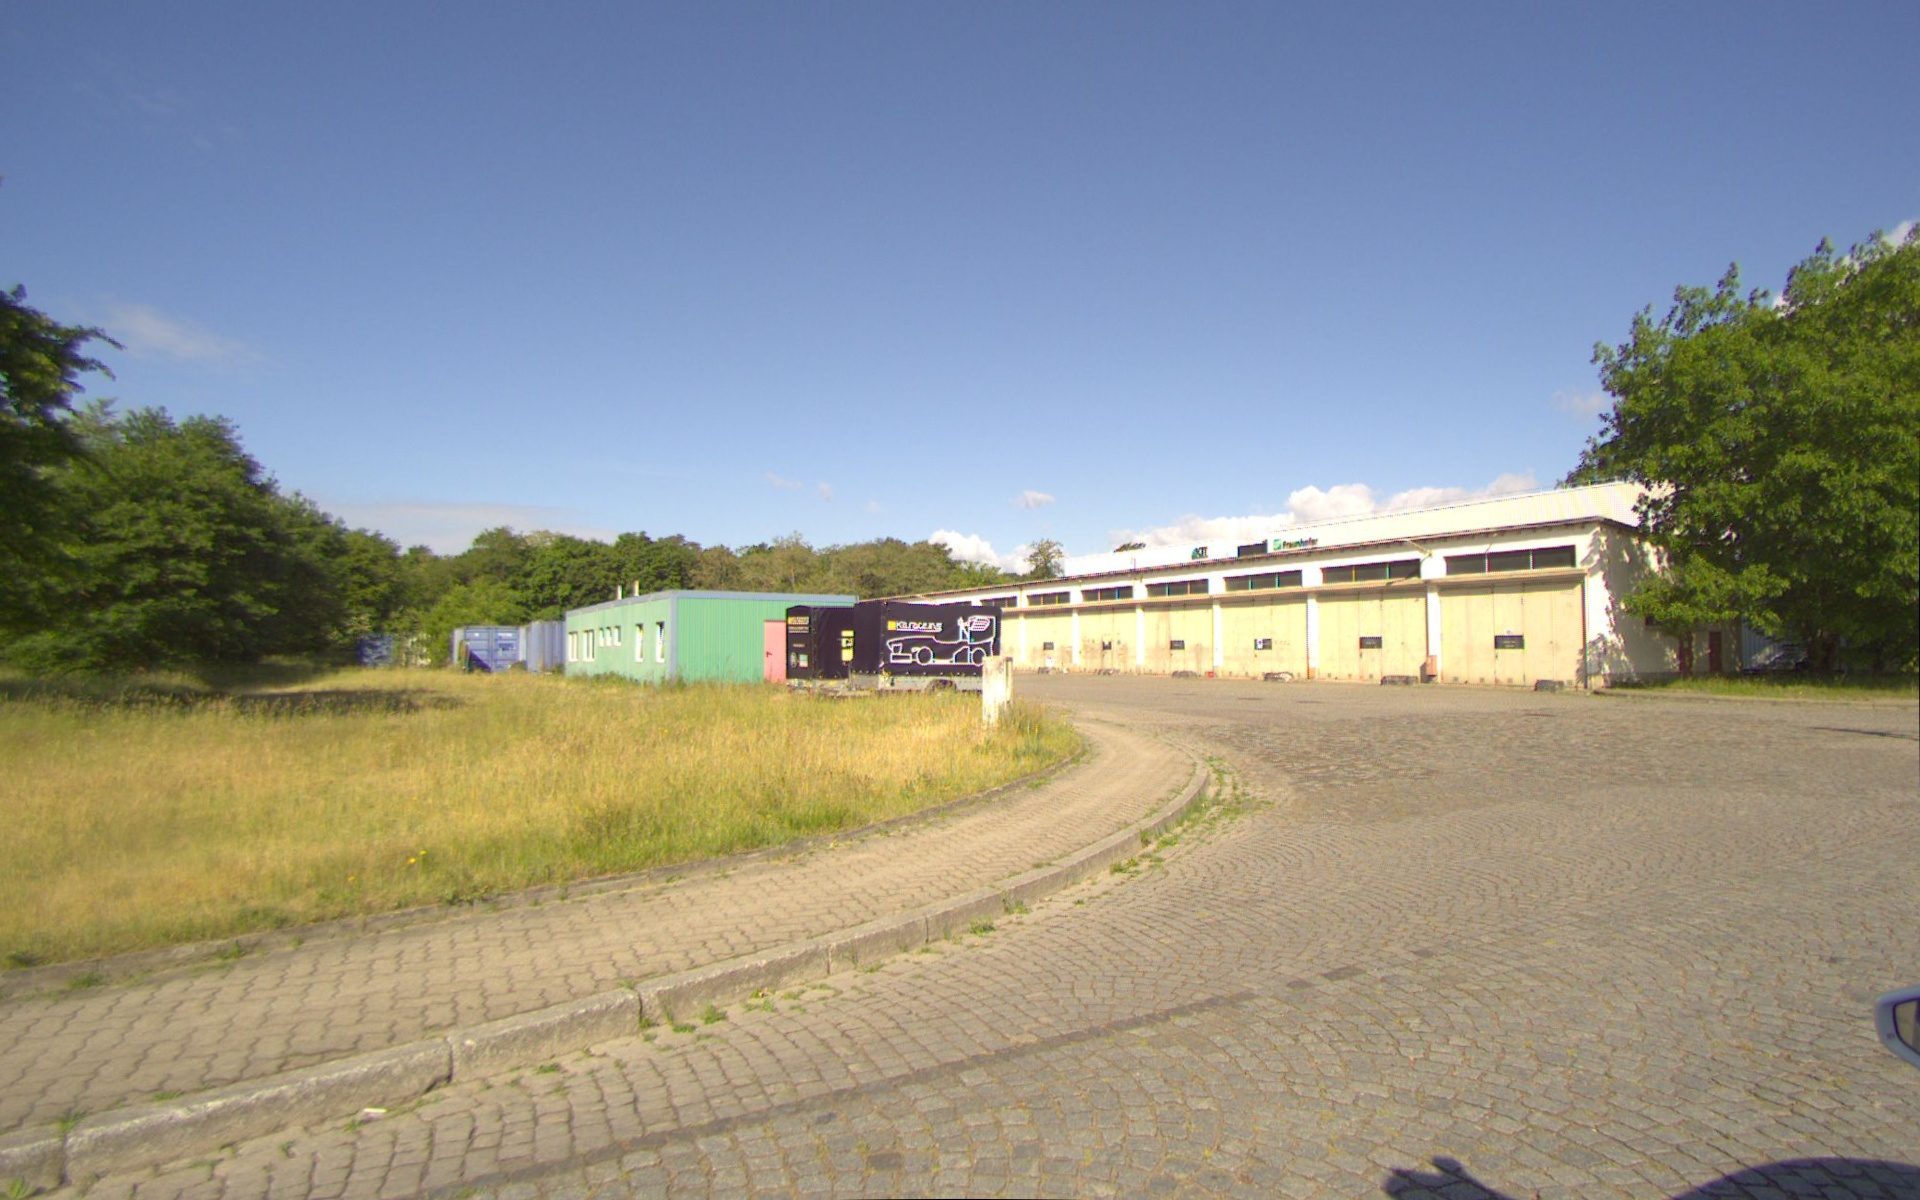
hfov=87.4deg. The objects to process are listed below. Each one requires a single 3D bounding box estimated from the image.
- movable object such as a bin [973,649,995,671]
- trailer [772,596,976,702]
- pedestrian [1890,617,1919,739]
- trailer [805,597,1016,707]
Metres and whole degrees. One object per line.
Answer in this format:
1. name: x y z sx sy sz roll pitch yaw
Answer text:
1. movable object such as a bin: 1.507 3.788 63.581 0.817 1.349 1.268 2 -3 -34
2. trailer: -2.091 1.274 25.236 4.808 2.422 1.924 3 -4 -35
3. pedestrian: 15.739 1.247 16.149 1.128 1.939 0.794 1 -3 -29
4. trailer: -1.105 1.236 23.051 4.416 2.302 1.999 3 -4 -30
